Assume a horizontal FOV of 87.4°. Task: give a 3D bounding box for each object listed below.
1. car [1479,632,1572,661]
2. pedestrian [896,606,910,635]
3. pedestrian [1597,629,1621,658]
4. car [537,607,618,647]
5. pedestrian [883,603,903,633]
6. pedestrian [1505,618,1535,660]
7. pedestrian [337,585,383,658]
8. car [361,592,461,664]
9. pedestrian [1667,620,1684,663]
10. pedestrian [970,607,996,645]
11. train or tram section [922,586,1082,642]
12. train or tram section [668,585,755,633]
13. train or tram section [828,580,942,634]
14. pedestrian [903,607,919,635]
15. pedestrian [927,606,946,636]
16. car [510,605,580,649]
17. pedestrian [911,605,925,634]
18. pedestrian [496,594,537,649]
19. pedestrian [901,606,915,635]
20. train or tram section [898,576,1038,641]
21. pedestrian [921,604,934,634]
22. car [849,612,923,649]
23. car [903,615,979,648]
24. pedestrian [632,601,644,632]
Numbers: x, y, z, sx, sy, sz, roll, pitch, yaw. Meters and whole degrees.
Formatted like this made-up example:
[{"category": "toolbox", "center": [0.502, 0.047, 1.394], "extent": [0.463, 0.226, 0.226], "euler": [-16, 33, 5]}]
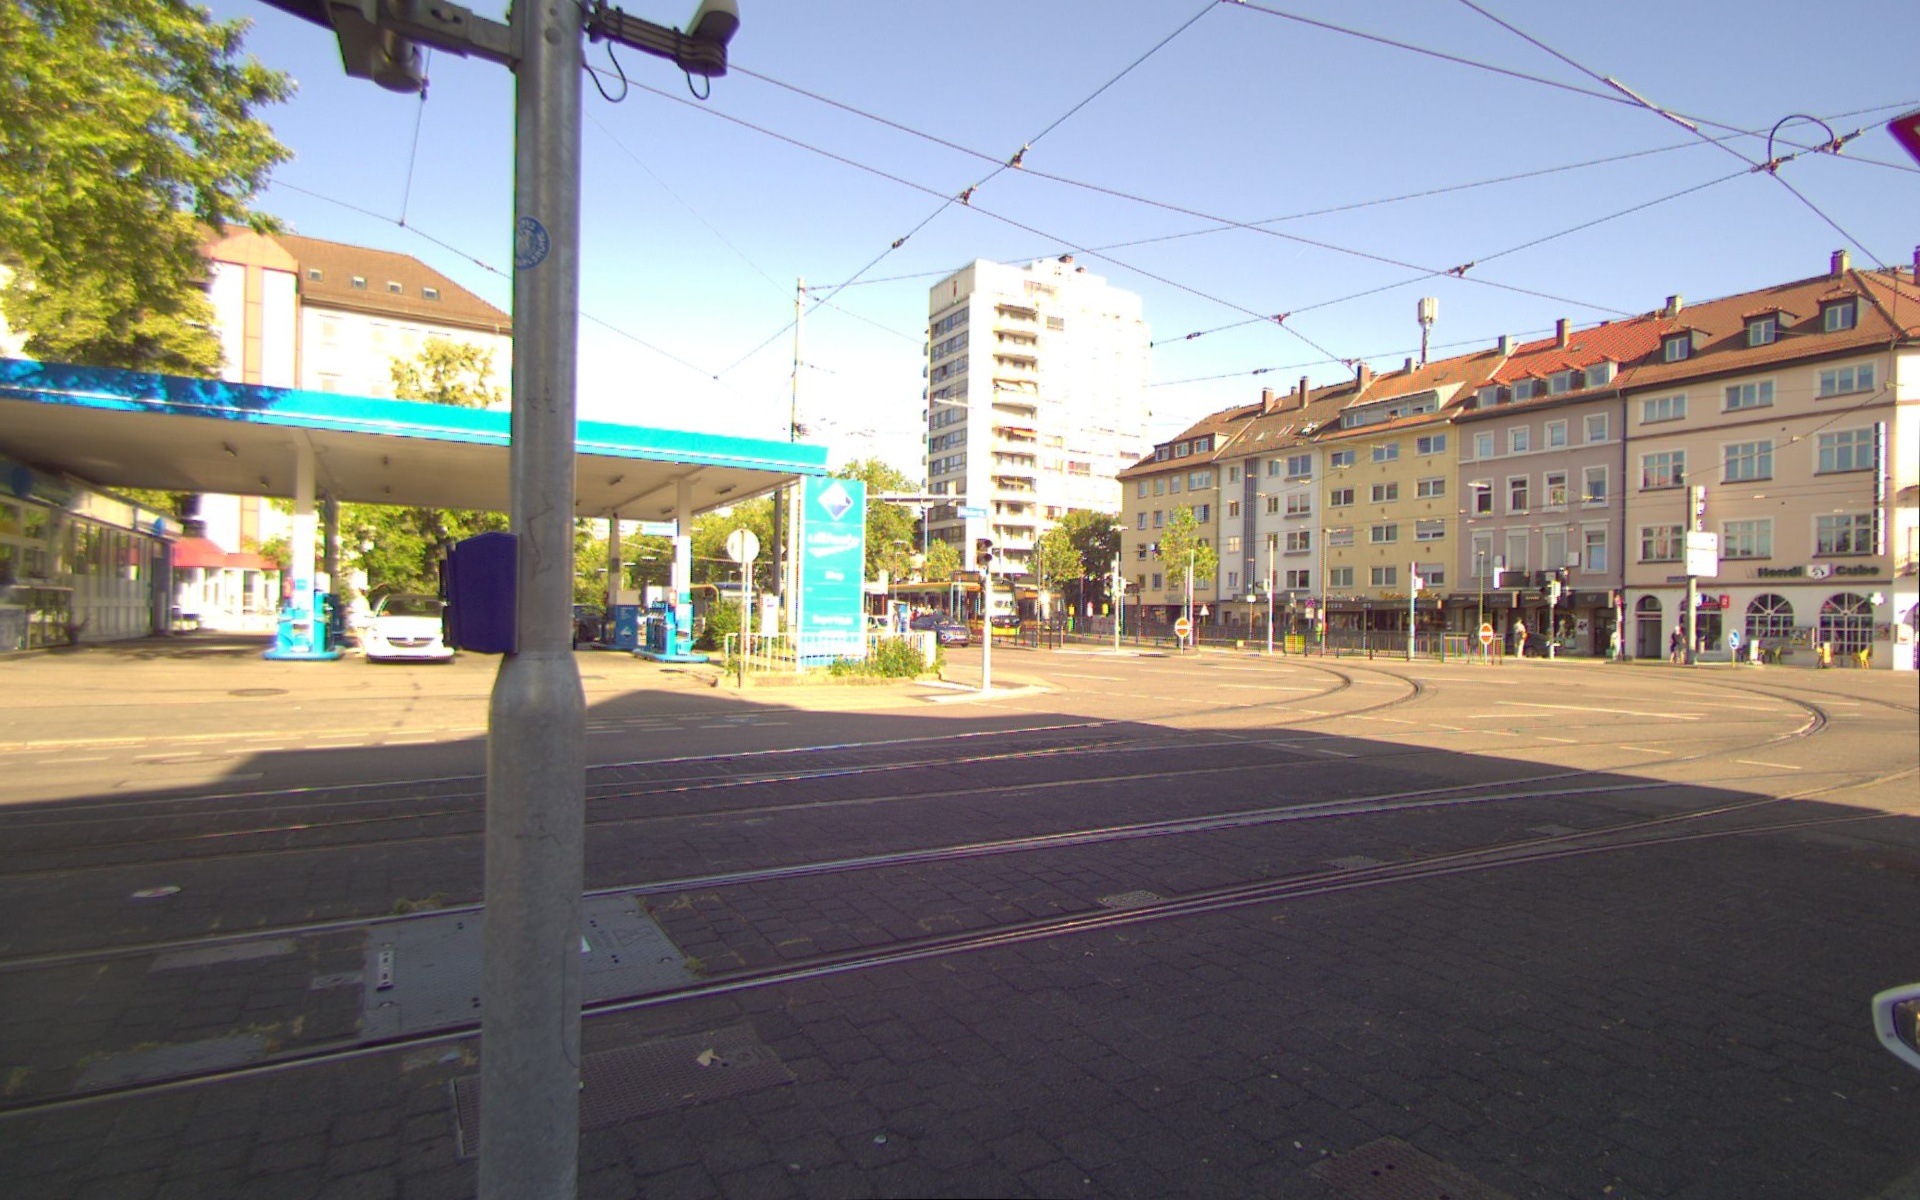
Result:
[{"category": "car", "center": [30.774, 2.496, 54.718], "extent": [1.980, 1.483, 3.962], "euler": [1, -1, -34]}, {"category": "pedestrian", "center": [-3.302, 1.184, 58.113], "extent": [0.500, 1.646, 0.605], "euler": [0, -1, 30]}, {"category": "pedestrian", "center": [34.700, 2.312, 53.692], "extent": [0.849, 1.547, 0.786], "euler": [1, -1, -29]}, {"category": "car", "center": [-17.206, 1.210, 45.389], "extent": [1.960, 1.685, 4.001], "euler": [1, -1, 2]}, {"category": "pedestrian", "center": [-4.085, 1.081, 61.218], "extent": [0.902, 1.826, 0.887], "euler": [1, -1, -33]}, {"category": "pedestrian", "center": [24.494, 1.696, 43.959], "extent": [0.801, 1.842, 0.871], "euler": [1, -1, -29]}, {"category": "pedestrian", "center": [-13.925, 0.504, 23.338], "extent": [0.801, 1.652, 0.643], "euler": [1, -1, -24]}, {"category": "car", "center": [-12.275, 0.607, 22.439], "extent": [1.773, 1.461, 3.968], "euler": [2, -1, -30]}, {"category": "pedestrian", "center": [34.209, 1.984, 48.024], "extent": [0.498, 2.040, 0.507], "euler": [1, -1, -27]}, {"category": "pedestrian", "center": [1.109, 1.240, 48.412], "extent": [0.902, 1.826, 0.887], "euler": [1, -1, -33]}, {"category": "train or tram section", "center": [2.583, 1.019, 73.354], "extent": [3.275, 3.617, 16.451], "euler": [1, -1, -30]}, {"category": "train or tram section", "center": [-15.031, 0.448, 60.045], "extent": [2.233, 2.627, 10.398], "euler": [2, 0, -30]}, {"category": "train or tram section", "center": [-5.251, 0.517, 67.587], "extent": [3.252, 3.335, 10.157], "euler": [1, -1, -33]}, {"category": "pedestrian", "center": [-2.893, 1.244, 59.387], "extent": [0.708, 1.646, 0.703], "euler": [1, -1, 14]}, {"category": "pedestrian", "center": [-1.292, 1.172, 55.723], "extent": [0.791, 1.646, 0.706], "euler": [1, -1, -33]}, {"category": "car", "center": [-13.505, 0.863, 32.584], "extent": [1.752, 1.332, 3.520], "euler": [1, -1, -28]}, {"category": "pedestrian", "center": [-2.475, 1.152, 58.969], "extent": [0.767, 1.721, 0.698], "euler": [1, -1, -3]}, {"category": "pedestrian", "center": [-14.976, 0.711, 33.927], "extent": [0.896, 1.826, 0.893], "euler": [0, -1, 34]}, {"category": "pedestrian", "center": [-2.988, 1.193, 57.968], "extent": [0.506, 1.646, 0.666], "euler": [0, -1, 30]}, {"category": "train or tram section", "center": [0.229, 0.515, 58.969], "extent": [3.252, 3.459, 10.157], "euler": [1, -1, -33]}, {"category": "pedestrian", "center": [-1.884, 1.087, 57.896], "extent": [0.491, 1.721, 0.553], "euler": [1, -1, -33]}, {"category": "car", "center": [-3.508, 1.392, 46.812], "extent": [1.976, 1.615, 3.970], "euler": [1, -1, -29]}, {"category": "car", "center": [-0.960, 1.490, 48.354], "extent": [1.937, 1.475, 4.077], "euler": [1, 0, -30]}, {"category": "pedestrian", "center": [-21.875, 1.129, 68.273], "extent": [0.675, 2.040, 0.856], "euler": [1, -1, -14]}]
